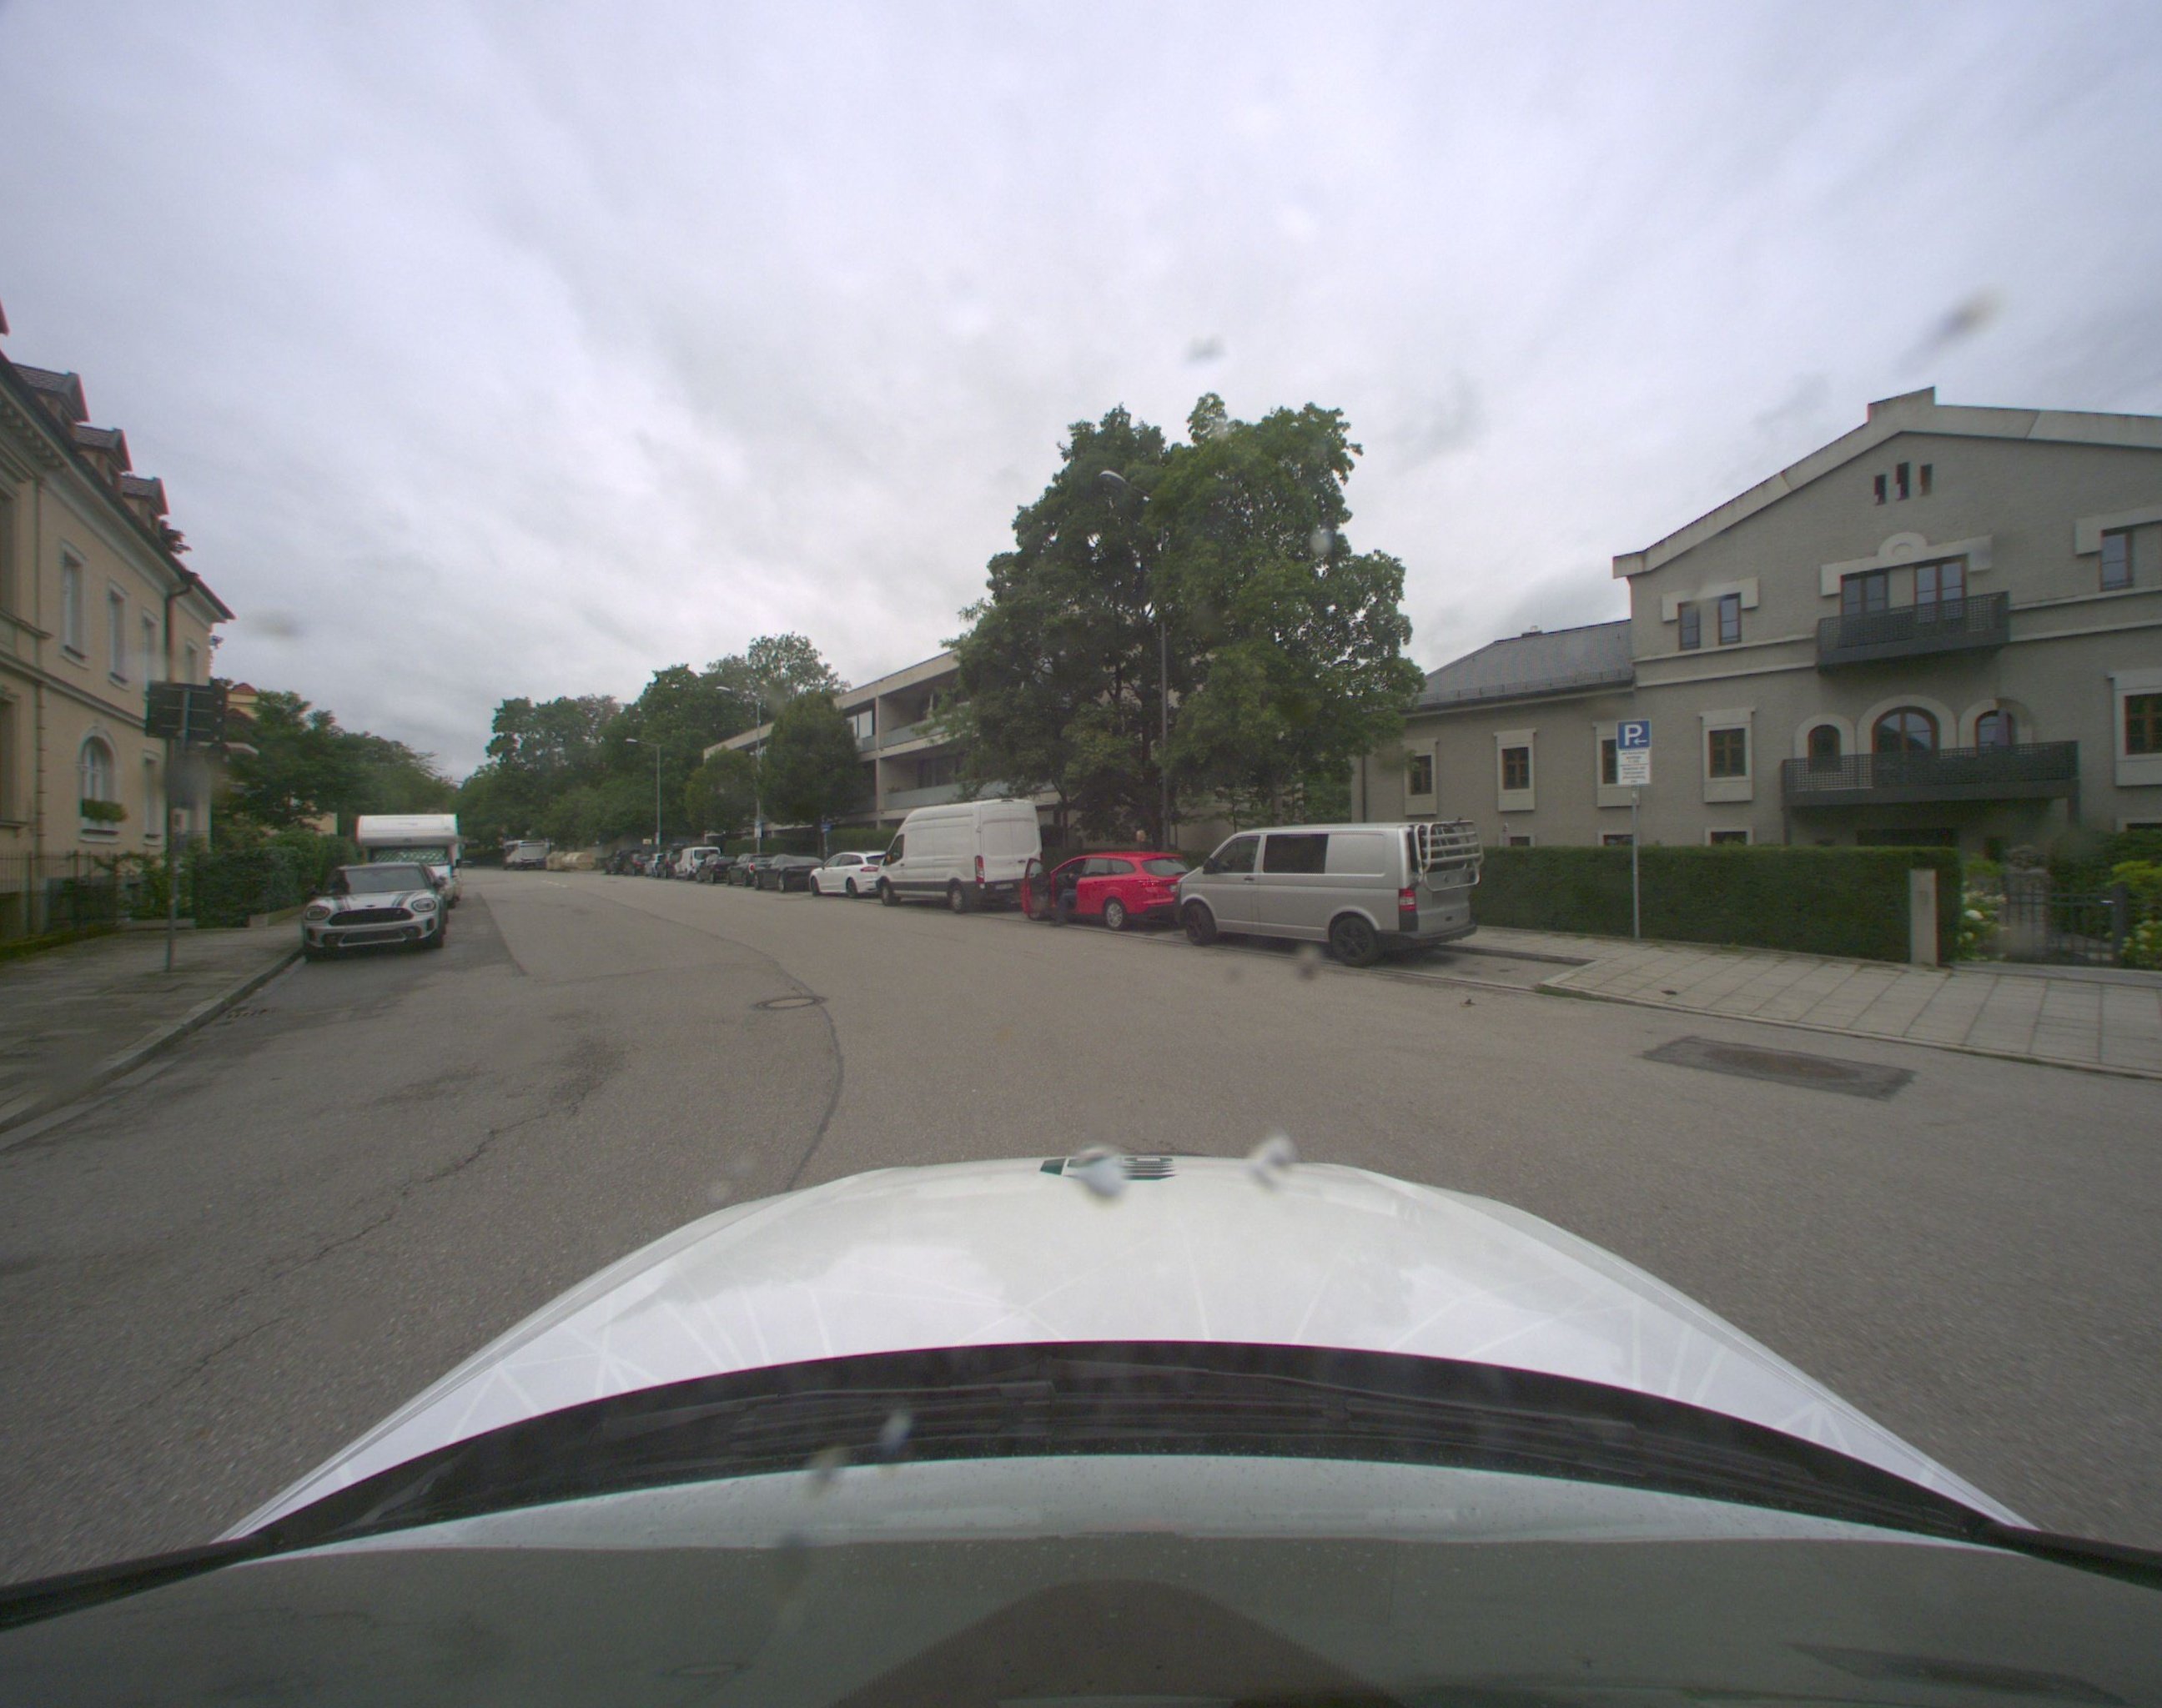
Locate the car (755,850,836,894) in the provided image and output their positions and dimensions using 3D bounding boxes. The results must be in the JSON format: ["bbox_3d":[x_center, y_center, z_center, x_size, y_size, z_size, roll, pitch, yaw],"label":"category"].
[{"bbox_3d":[-11.235,0.645,31.844,1.292,1.506,5.147,-4,3,-39],"label":"car"}]

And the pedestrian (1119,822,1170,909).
[{"bbox_3d":[1.435,0.256,18.462,0.801,1.903,0.856,0,0,-32],"label":"pedestrian"}]

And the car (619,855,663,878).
[{"bbox_3d":[-30.833,0.830,57.005,1.763,1.539,4.515,-1,0,-41],"label":"car"}]

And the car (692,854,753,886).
[{"bbox_3d":[-17.816,0.737,40.367,1.762,1.464,4.194,-2,1,-39],"label":"car"}]

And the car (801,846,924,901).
[{"bbox_3d":[-7.369,0.562,27.123,1.887,1.569,4.942,-4,3,-42],"label":"car"}]

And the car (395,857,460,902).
[{"bbox_3d":[-25.590,0.946,31.946,1.793,1.534,4.179,-4,2,-38],"label":"car"}]

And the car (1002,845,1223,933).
[{"bbox_3d":[0.508,0.613,17.135,1.887,1.506,4.781,-4,3,-40],"label":"car"}]

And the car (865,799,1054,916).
[{"bbox_3d":[-3.450,0.018,21.853,2.097,2.686,6.017,-3,3,-40],"label":"car"}]

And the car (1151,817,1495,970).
[{"bbox_3d":[3.557,0.457,12.948,1.950,1.904,5.015,-4,3,-37],"label":"car"}]

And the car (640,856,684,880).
[{"bbox_3d":[-27.147,0.853,52.710,1.762,1.480,3.843,-1,0,-39],"label":"car"}]

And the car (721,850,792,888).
[{"bbox_3d":[-14.499,0.606,36.261,1.741,1.529,4.156,-3,2,-39],"label":"car"}]

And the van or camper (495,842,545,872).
[{"bbox_3d":[-56.902,0.349,82.477,7.183,2.906,2.294,-1,0,40],"label":"van or camper"}]

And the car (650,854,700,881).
[{"bbox_3d":[-24.462,0.777,49.015,1.762,1.480,4.545,0,0,-39],"label":"car"}]

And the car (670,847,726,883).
[{"bbox_3d":[-21.242,0.580,45.069,1.837,1.860,4.843,1,0,-37],"label":"car"}]

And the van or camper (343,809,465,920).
[{"bbox_3d":[-20.895,0.244,25.465,2.475,2.940,7.131,-3,2,-37],"label":"van or camper"}]

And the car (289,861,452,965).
[{"bbox_3d":[-13.207,0.969,15.412,1.951,1.534,4.480,-4,2,-37],"label":"car"}]

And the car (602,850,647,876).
[{"bbox_3d":[-34.261,0.710,61.060,2.005,1.871,5.017,0,-1,-41],"label":"car"}]
